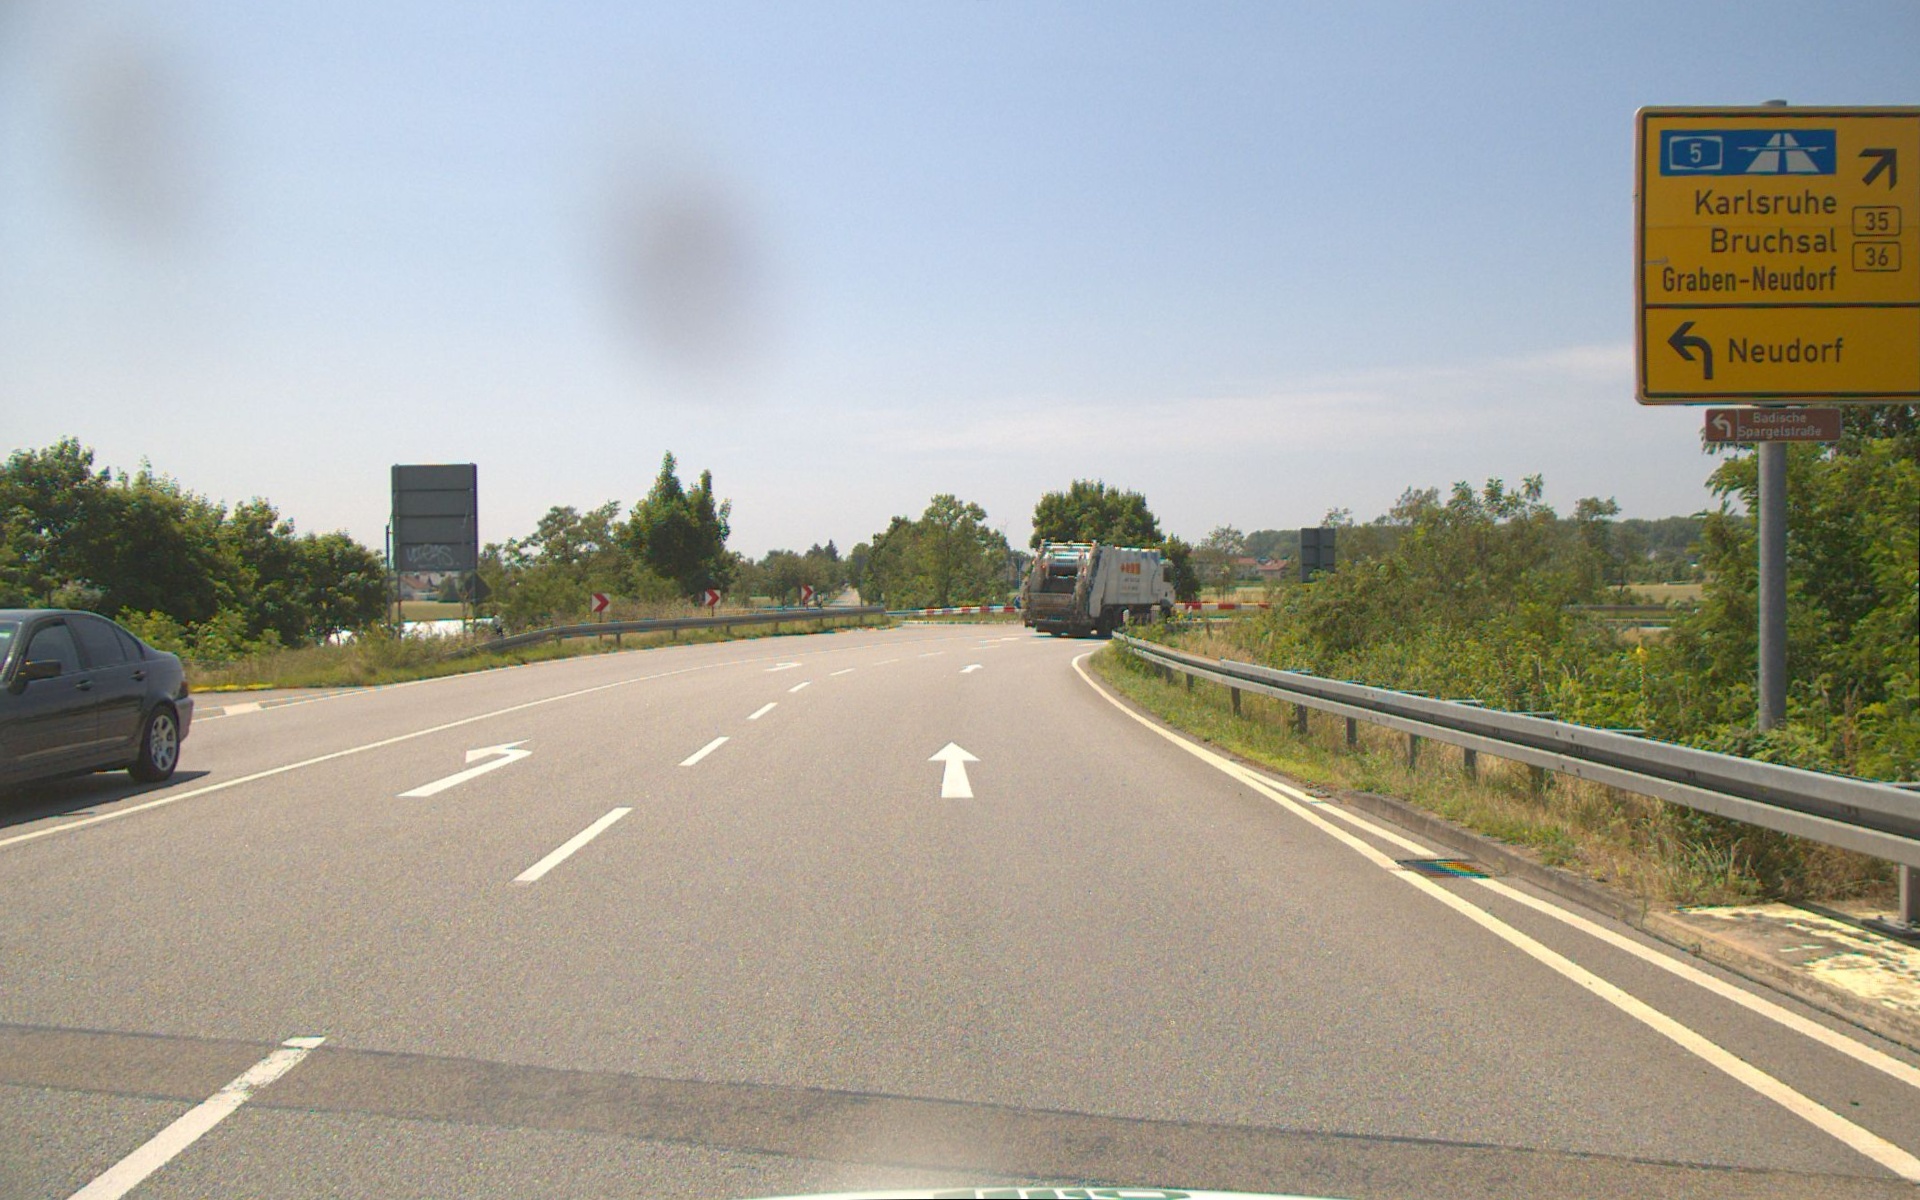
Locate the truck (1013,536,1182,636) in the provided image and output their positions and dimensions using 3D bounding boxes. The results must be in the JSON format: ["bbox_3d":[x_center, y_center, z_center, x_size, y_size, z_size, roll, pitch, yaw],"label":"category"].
[{"bbox_3d":[5.704,-0.505,66.430,2.761,3.733,9.927,0,0,30],"label":"truck"}]

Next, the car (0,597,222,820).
[{"bbox_3d":[-7.244,0.755,12.127,1.699,1.425,4.380,-2,1,-1],"label":"car"}]
